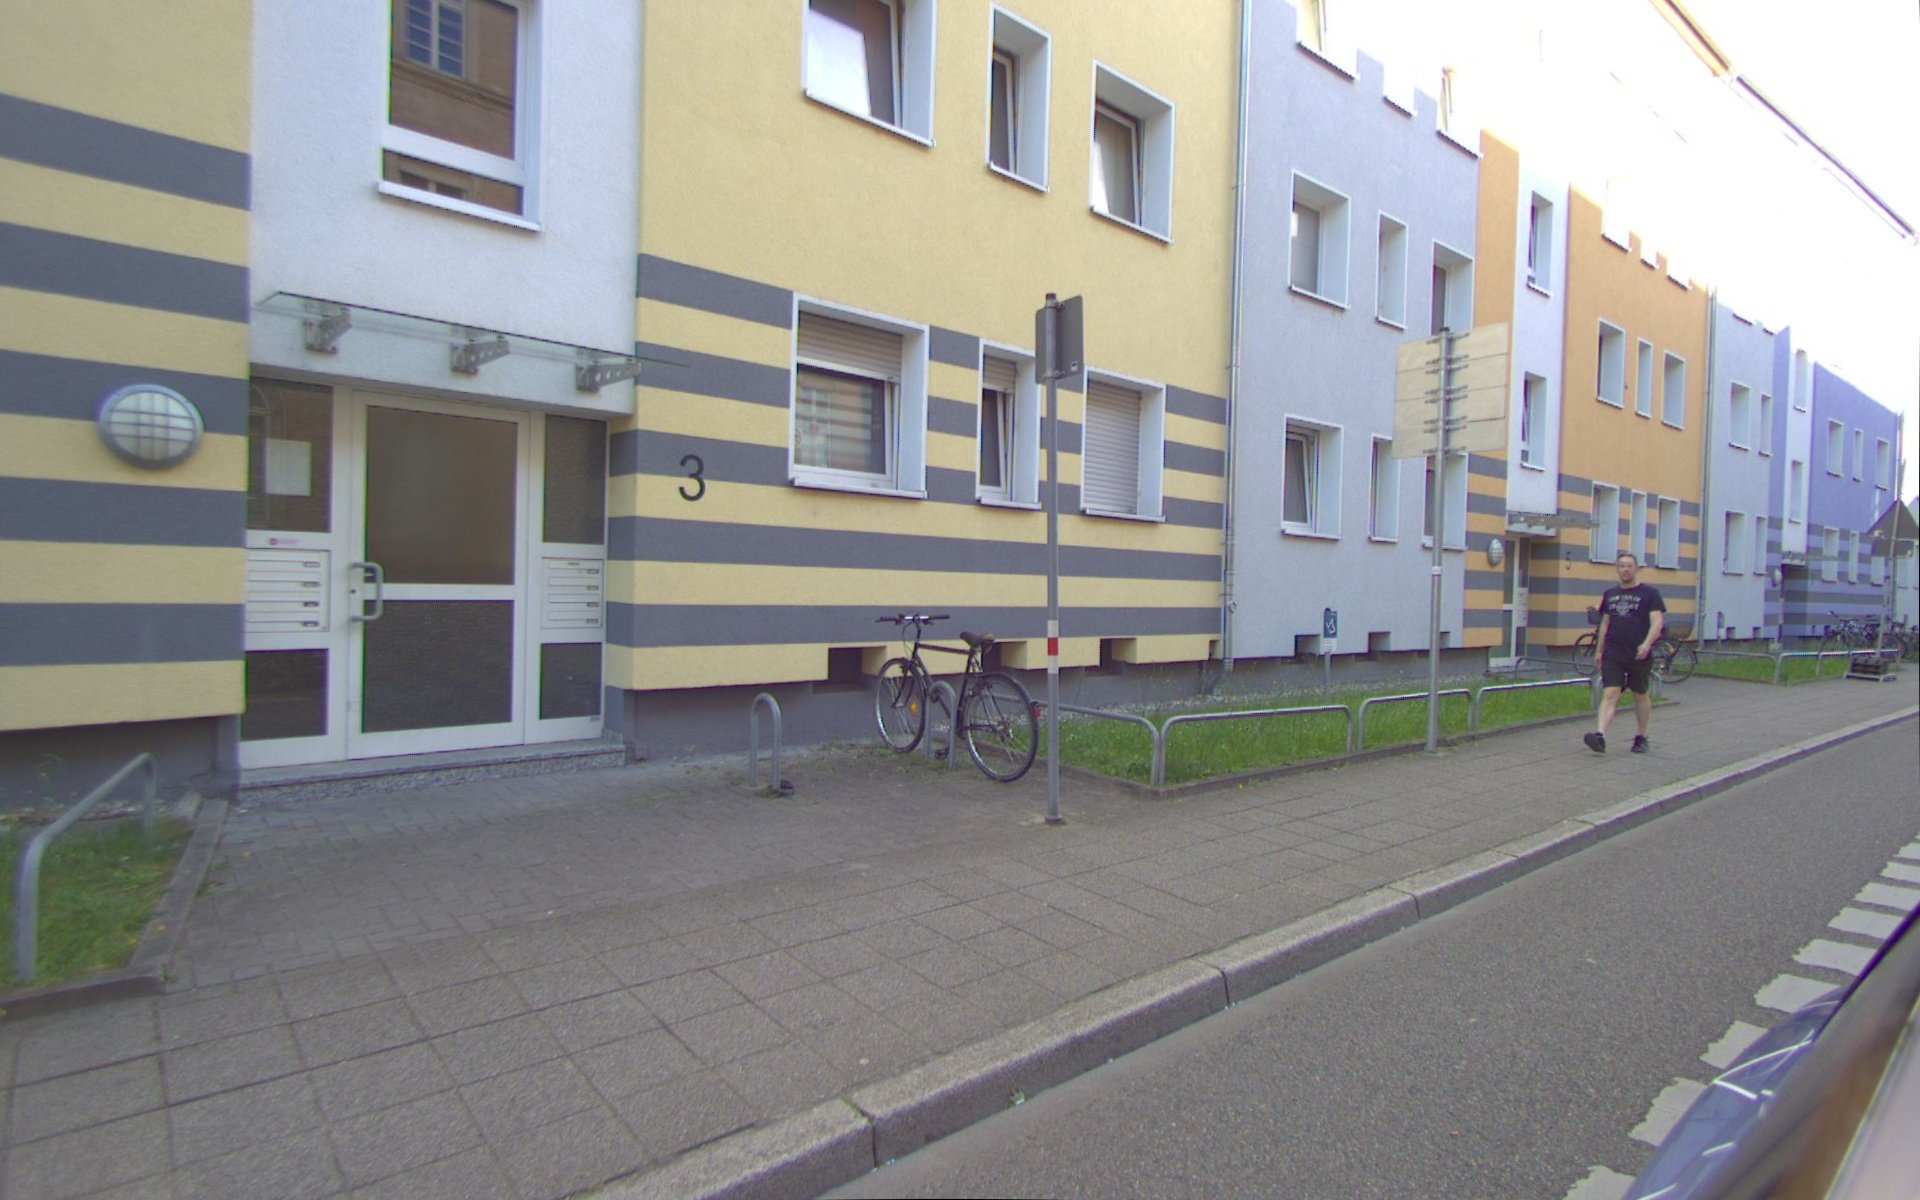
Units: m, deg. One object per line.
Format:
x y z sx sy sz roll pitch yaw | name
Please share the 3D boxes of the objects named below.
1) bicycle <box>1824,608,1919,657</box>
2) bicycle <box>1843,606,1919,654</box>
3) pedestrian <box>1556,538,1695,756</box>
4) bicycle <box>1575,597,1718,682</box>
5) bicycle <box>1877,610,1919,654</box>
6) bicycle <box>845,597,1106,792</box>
22.274 0.769 24.667 0.624 1.058 1.711 1 2 -39 | bicycle
23.243 0.741 25.262 0.625 1.095 1.711 1 2 -40 | bicycle
5.923 0.387 9.014 0.898 1.810 0.646 1 4 -38 | pedestrian
10.734 0.590 15.863 0.625 1.173 1.709 1 3 -42 | bicycle
24.162 0.817 25.336 0.625 1.048 1.709 1 3 -42 | bicycle
0.039 0.572 7.045 0.625 1.074 1.946 1 3 -42 | bicycle
